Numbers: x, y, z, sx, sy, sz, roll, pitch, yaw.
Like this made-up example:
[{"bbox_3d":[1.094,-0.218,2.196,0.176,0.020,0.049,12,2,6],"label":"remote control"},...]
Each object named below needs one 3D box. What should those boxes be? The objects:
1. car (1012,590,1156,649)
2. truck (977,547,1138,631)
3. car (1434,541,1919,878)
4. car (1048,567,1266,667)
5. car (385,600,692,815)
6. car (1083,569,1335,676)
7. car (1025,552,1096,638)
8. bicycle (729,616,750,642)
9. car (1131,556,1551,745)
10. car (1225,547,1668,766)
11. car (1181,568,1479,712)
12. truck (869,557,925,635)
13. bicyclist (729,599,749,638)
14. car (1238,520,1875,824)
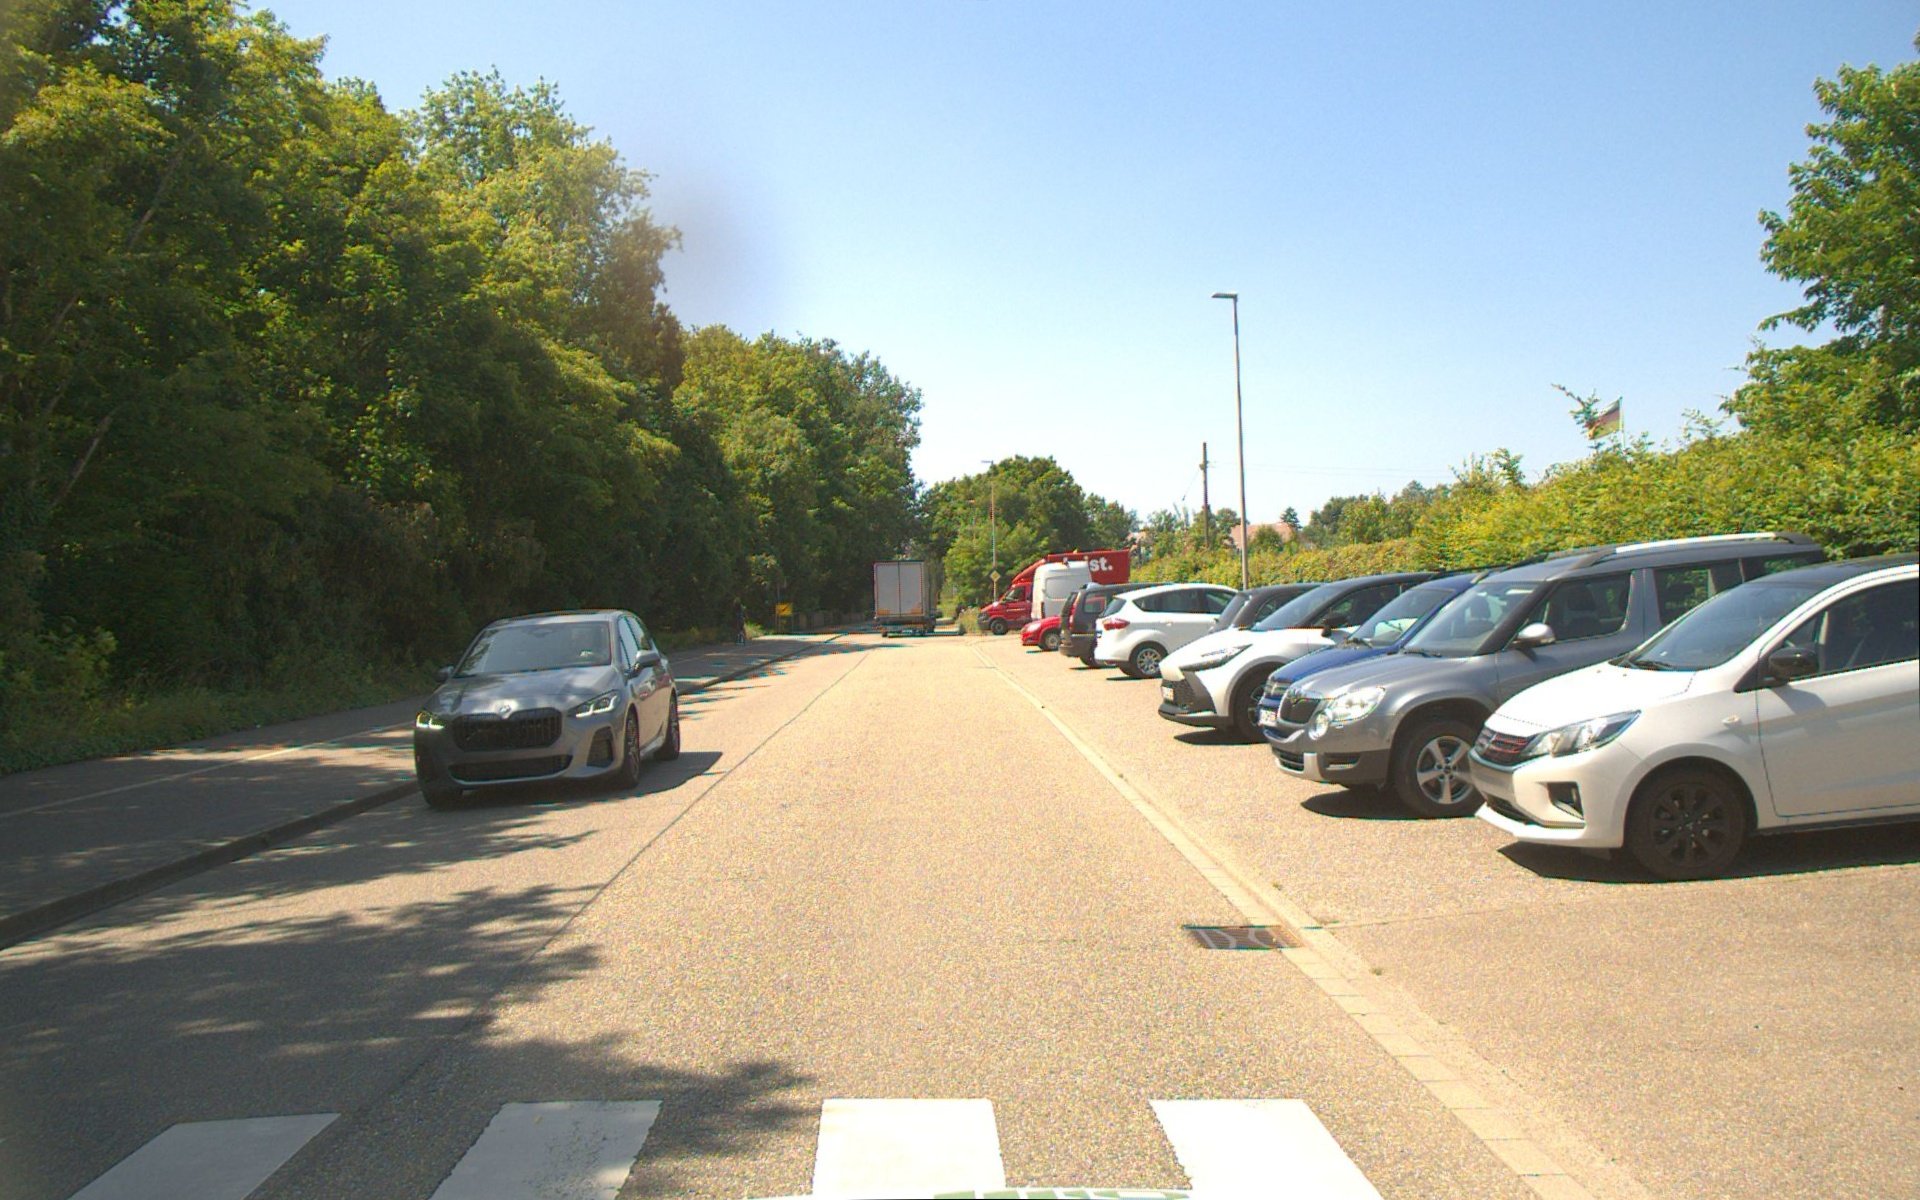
[{"bbox_3d":[3.644,0.565,49.195,3.975,1.459,1.834,-4,0,-5],"label":"car"},{"bbox_3d":[4.402,-0.490,73.855,6.985,3.500,2.332,-1,0,7],"label":"truck"},{"bbox_3d":[4.667,0.488,9.037,3.614,1.475,1.610,-5,0,2],"label":"car"},{"bbox_3d":[4.280,0.366,36.379,4.368,1.836,1.950,-4,-1,-6],"label":"car"},{"bbox_3d":[-3.733,0.872,15.441,1.854,1.558,4.194,-5,0,-3],"label":"car"},{"bbox_3d":[4.478,0.398,30.147,4.192,1.605,1.764,-4,0,-4],"label":"car"},{"bbox_3d":[3.552,-0.180,59.765,1.915,2.781,7.166,-4,0,-1],"label":"car"},{"bbox_3d":[-9.179,1.207,68.904,0.549,1.045,1.839,-2,0,2],"label":"bicycle"},{"bbox_3d":[3.987,0.503,17.675,3.889,1.549,1.861,-5,0,-8],"label":"car"},{"bbox_3d":[4.282,0.472,14.817,3.388,1.553,1.537,-5,0,-7],"label":"car"},{"bbox_3d":[4.555,0.475,20.693,3.318,1.530,1.588,-3,0,1],"label":"car"},{"bbox_3d":[-3.267,-0.147,88.779,2.678,3.811,13.242,0,0,-1],"label":"truck"},{"bbox_3d":[-9.196,0.755,68.880,0.635,1.592,0.837,-2,-1,2],"label":"bicyclist"},{"bbox_3d":[4.174,0.463,11.883,3.887,1.668,1.661,-5,0,-8],"label":"car"}]
